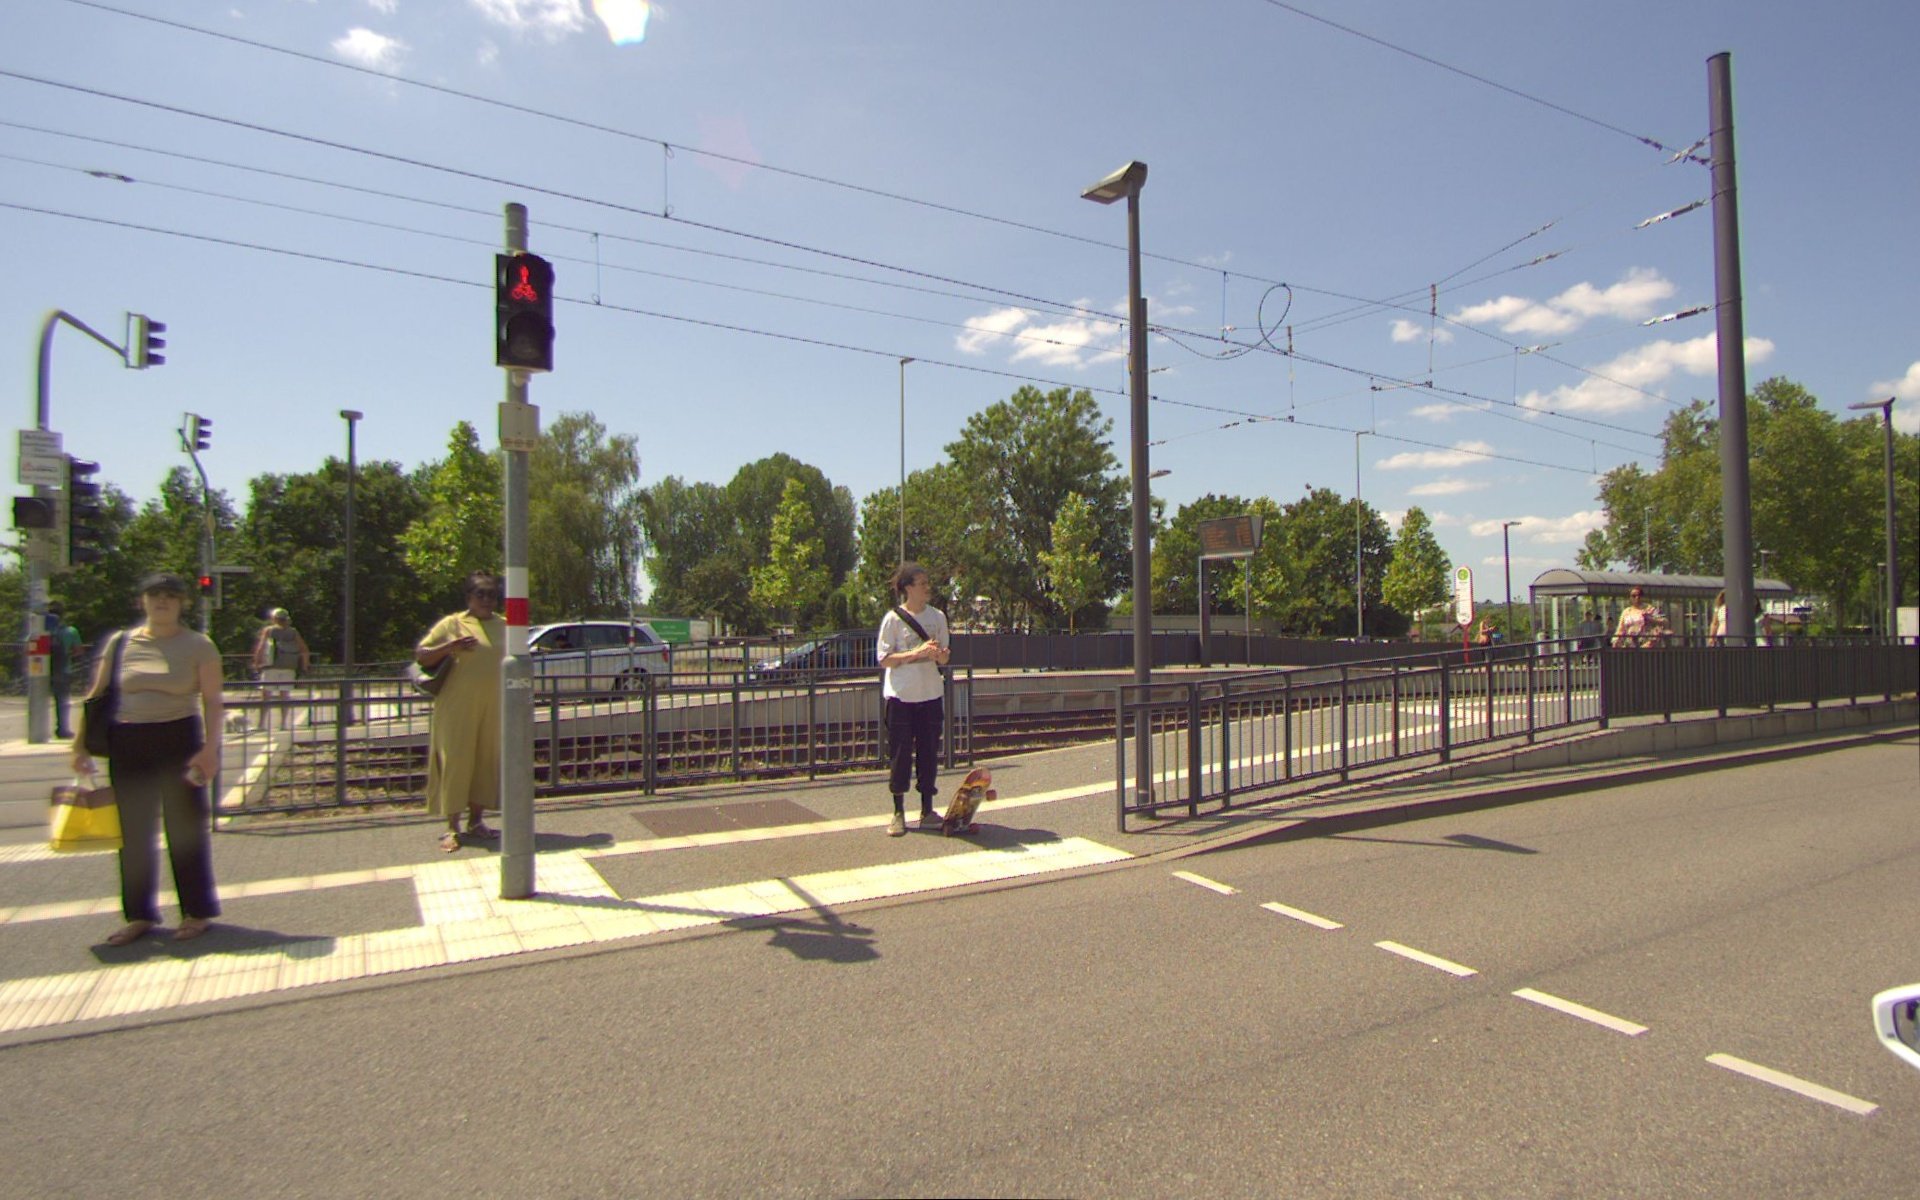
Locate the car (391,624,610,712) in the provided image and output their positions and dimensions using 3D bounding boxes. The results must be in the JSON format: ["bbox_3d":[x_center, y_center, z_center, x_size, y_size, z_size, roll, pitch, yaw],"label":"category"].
[{"bbox_3d":[-9.526,1.341,20.876,3.954,1.650,1.984,1,-1,-31],"label":"car"}]

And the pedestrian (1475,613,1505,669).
[{"bbox_3d":[16.024,1.227,30.375,0.800,1.659,0.552,1,-1,-39],"label":"pedestrian"}]

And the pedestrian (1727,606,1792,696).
[{"bbox_3d":[12.481,0.780,15.680,0.712,1.363,0.610,1,-1,-33],"label":"pedestrian"}]

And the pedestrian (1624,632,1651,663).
[{"bbox_3d":[23.841,1.664,35.335,0.632,1.109,0.573,1,-1,-31],"label":"pedestrian"}]

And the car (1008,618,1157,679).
[{"bbox_3d":[3.595,1.381,29.316,3.954,1.650,1.984,1,-1,-31],"label":"car"}]

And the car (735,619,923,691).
[{"bbox_3d":[-3.249,1.304,25.064,4.231,1.650,1.984,1,-1,-31],"label":"car"}]

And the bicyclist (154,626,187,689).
[{"bbox_3d":[-20.869,1.508,26.561,0.537,1.631,0.584,1,-1,-25],"label":"bicyclist"}]

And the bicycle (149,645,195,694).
[{"bbox_3d":[-20.942,1.836,26.723,0.582,1.209,1.526,1,-1,-24],"label":"bicycle"}]

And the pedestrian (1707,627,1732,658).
[{"bbox_3d":[29.986,1.670,39.648,0.632,1.206,0.573,1,-1,-31],"label":"pedestrian"}]

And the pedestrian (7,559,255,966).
[{"bbox_3d":[-3.631,0.645,4.480,0.757,1.593,0.780,1,-1,-35],"label":"pedestrian"}]

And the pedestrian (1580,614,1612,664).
[{"bbox_3d":[21.555,1.314,34.058,0.566,1.660,0.829,0,-1,6],"label":"pedestrian"}]

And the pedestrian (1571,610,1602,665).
[{"bbox_3d":[20.551,1.226,32.959,0.566,1.751,0.739,0,-1,6],"label":"pedestrian"}]

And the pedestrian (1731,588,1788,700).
[{"bbox_3d":[11.752,0.638,14.769,0.551,1.598,0.494,1,-1,-33],"label":"pedestrian"}]

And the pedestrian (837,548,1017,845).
[{"bbox_3d":[-0.232,0.605,6.776,0.875,1.826,0.857,1,-1,-35],"label":"pedestrian"}]

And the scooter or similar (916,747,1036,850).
[{"bbox_3d":[0.096,1.284,6.608,0.453,0.512,0.721,1,-1,-34],"label":"scooter or similar"}]

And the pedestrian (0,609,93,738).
[{"bbox_3d":[-12.093,0.946,13.331,0.756,1.631,0.950,1,-1,-34],"label":"pedestrian"}]

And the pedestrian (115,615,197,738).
[{"bbox_3d":[-10.605,0.983,13.281,0.756,1.569,0.757,1,-1,-34],"label":"pedestrian"}]

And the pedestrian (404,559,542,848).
[{"bbox_3d":[-3.102,0.615,6.385,0.672,1.695,0.727,1,-1,-35],"label":"pedestrian"}]

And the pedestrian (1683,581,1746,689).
[{"bbox_3d":[12.264,0.561,16.334,0.712,1.703,0.610,1,-1,-34],"label":"pedestrian"}]

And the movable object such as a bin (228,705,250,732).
[{"bbox_3d":[-10.033,1.649,13.982,0.227,0.325,0.567,1,-2,-35],"label":"movable object such as a bin"}]

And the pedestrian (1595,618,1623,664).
[{"bbox_3d":[22.235,1.390,34.405,0.632,1.553,0.573,1,-1,-31],"label":"pedestrian"}]

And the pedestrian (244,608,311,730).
[{"bbox_3d":[-9.836,0.973,14.493,0.756,1.694,0.757,1,-1,-34],"label":"pedestrian"}]

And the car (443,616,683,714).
[{"bbox_3d":[-7.465,1.147,18.948,3.954,1.650,1.984,1,-1,-31],"label":"car"}]

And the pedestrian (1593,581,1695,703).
[{"bbox_3d":[9.548,0.574,14.031,0.914,1.626,0.885,1,-1,-33],"label":"pedestrian"}]
